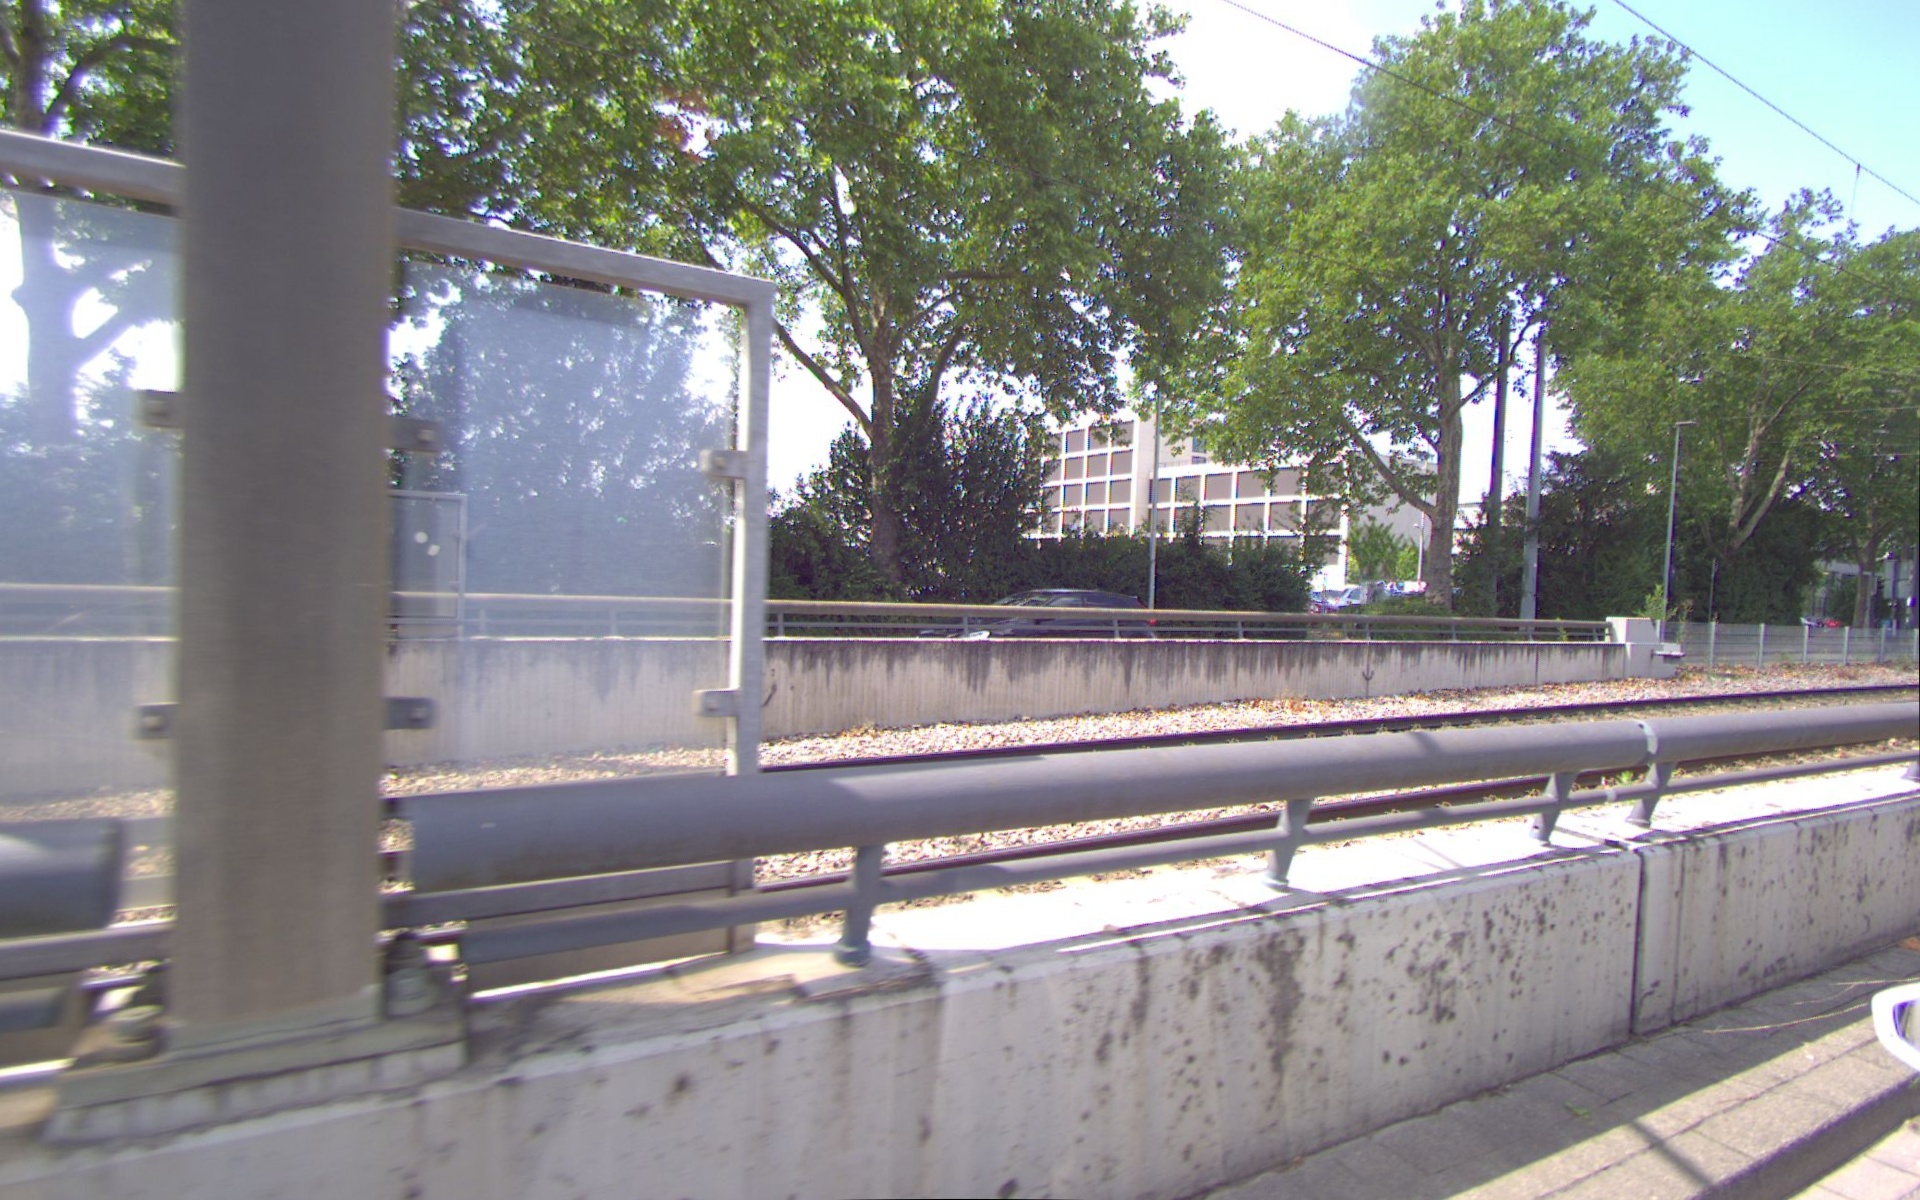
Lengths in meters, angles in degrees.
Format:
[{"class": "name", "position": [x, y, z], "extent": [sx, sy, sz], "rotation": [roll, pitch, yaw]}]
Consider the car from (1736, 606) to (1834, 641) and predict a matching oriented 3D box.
[{"class": "car", "position": [47.566, 1.341, 57.993], "extent": [1.784, 1.773, 3.963], "rotation": [2, 2, -33]}]

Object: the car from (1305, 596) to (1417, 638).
[{"class": "car", "position": [16.686, 0.698, 42.006], "extent": [1.976, 1.461, 3.968], "rotation": [2, 2, -29]}]

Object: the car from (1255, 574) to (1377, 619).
[{"class": "car", "position": [13.328, -0.160, 37.803], "extent": [1.976, 1.461, 3.968], "rotation": [2, 2, -29]}]

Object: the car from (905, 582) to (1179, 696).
[{"class": "car", "position": [1.391, 0.606, 16.371], "extent": [4.248, 1.618, 1.659], "rotation": [2, 1, -31]}]
